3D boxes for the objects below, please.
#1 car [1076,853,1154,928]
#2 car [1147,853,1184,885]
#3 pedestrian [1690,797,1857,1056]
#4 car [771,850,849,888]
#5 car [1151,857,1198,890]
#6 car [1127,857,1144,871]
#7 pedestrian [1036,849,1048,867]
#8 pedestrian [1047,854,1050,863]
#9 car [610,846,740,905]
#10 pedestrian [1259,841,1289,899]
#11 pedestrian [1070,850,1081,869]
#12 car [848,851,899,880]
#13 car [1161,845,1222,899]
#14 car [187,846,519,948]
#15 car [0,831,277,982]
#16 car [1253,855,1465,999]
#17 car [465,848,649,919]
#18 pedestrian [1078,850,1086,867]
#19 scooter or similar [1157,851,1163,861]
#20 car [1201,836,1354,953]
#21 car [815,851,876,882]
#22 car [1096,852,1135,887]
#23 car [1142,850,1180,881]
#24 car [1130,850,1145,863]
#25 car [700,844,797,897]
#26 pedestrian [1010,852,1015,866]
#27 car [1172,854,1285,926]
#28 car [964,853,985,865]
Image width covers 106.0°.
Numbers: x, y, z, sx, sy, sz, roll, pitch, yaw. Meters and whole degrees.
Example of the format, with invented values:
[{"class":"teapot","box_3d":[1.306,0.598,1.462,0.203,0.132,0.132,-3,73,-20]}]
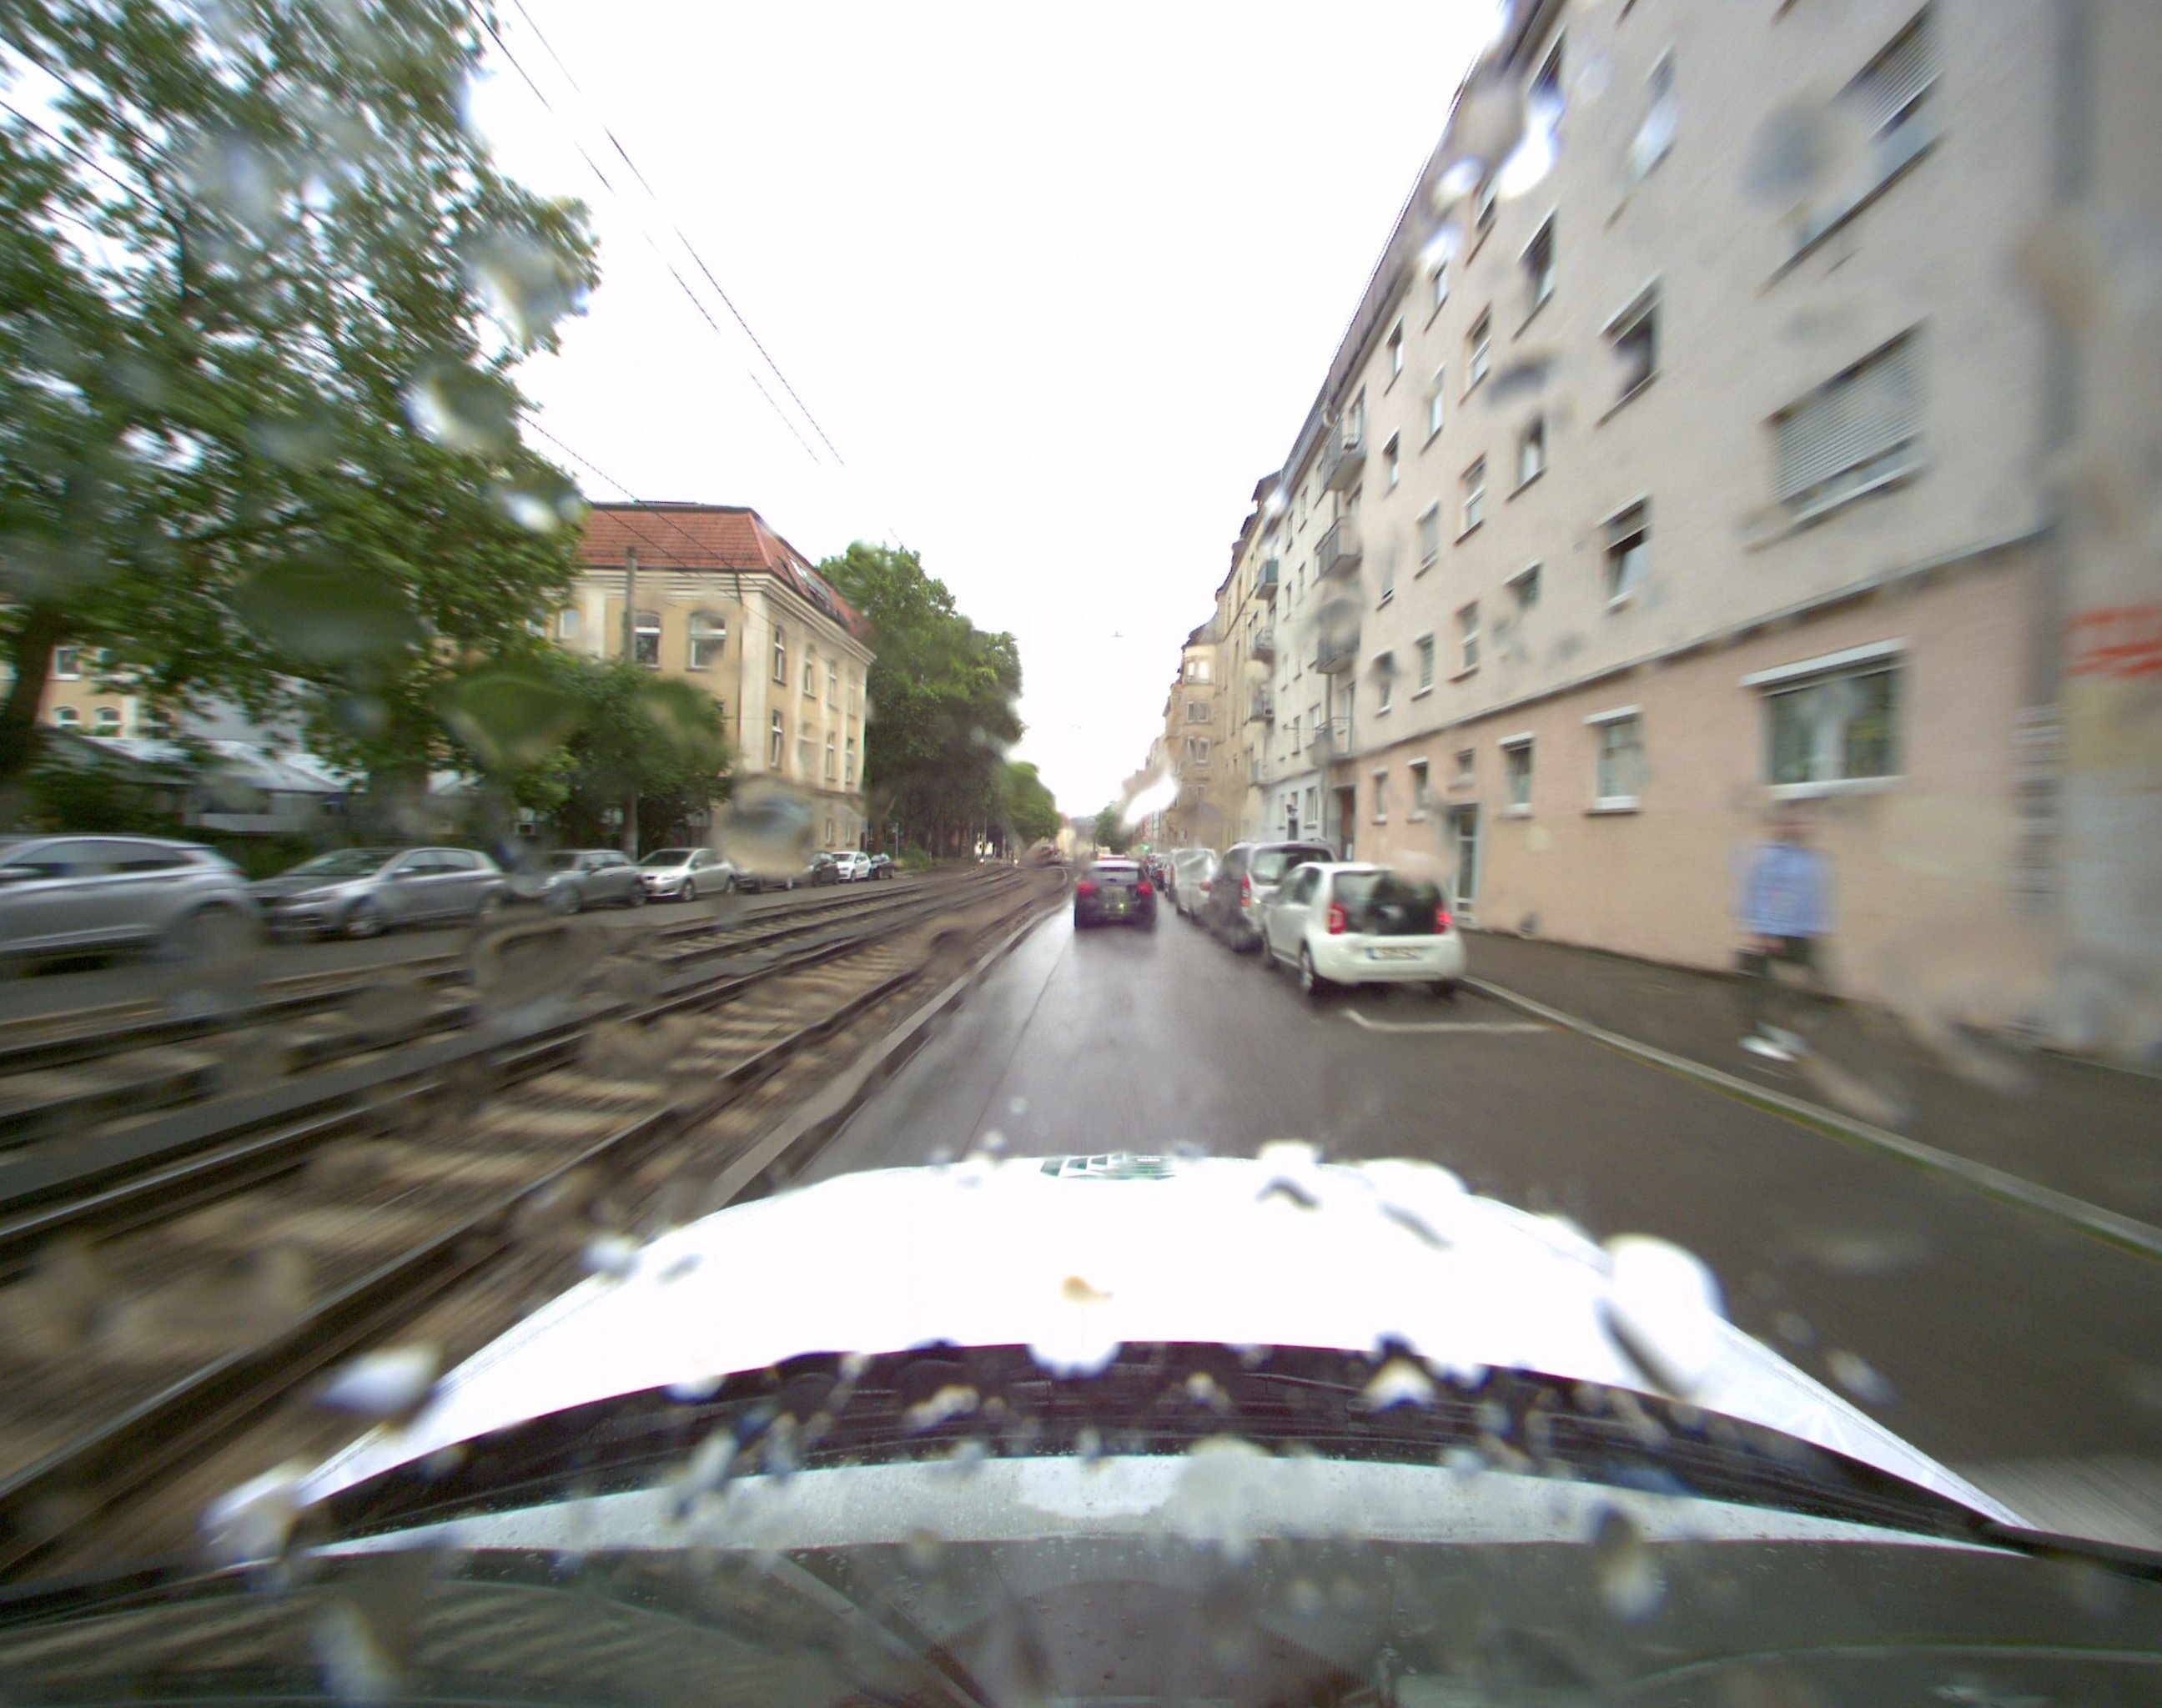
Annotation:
[{"class":"car","box_3d":[0.735,0.747,18.350,1.574,1.505,3.575,1,0,1]},{"class":"car","box_3d":[4.333,0.733,42.210,1.687,1.529,4.002,1,0,2]},{"class":"pedestrian","box_3d":[5.006,0.498,5.926,0.605,1.763,0.688,-1,0,1]},{"class":"car","box_3d":[-11.010,0.579,33.361,1.668,1.413,4.013,-1,0,3]},{"class":"car","box_3d":[4.226,0.857,37.200,1.711,1.347,4.463,2,0,1]},{"class":"car","box_3d":[6.448,1.195,96.486,1.820,1.618,3.866,-1,0,2]},{"class":"pedestrian","box_3d":[-3.866,0.370,81.090,1.050,1.718,0.905,1,0,3]},{"class":"pedestrian","box_3d":[-6.419,0.880,159.782,0.516,1.717,0.551,3,0,2]},{"class":"car","box_3d":[-11.423,0.565,23.229,1.534,1.505,4.155,-1,0,1]},{"class":"pedestrian","box_3d":[6.275,0.496,26.495,0.743,1.833,1.039,-2,0,3]},{"class":"pedestrian","box_3d":[-0.628,0.620,87.605,1.135,1.998,1.171,-1,0,-2]},{"class":"car","box_3d":[-10.894,0.555,43.042,1.608,1.429,3.854,0,0,2]},{"class":"car","box_3d":[3.881,0.593,29.169,1.820,1.750,4.471,1,0,3]},{"class":"car","box_3d":[-11.754,0.610,13.622,1.748,1.413,4.154,-1,0,1]},{"class":"car","box_3d":[-11.850,0.548,8.796,1.748,1.536,4.544,-1,0,1]},{"class":"car","box_3d":[3.239,0.750,10.178,1.564,1.462,3.601,0,0,2]},{"class":"car","box_3d":[-11.672,0.596,18.497,1.534,1.413,3.954,-1,0,1]},{"class":"pedestrian","box_3d":[0.093,0.456,81.548,0.803,1.633,0.893,-1,0,2]},{"class":"scooter or similar","box_3d":[10.423,0.282,106.991,0.448,1.321,1.774,-1,0,-5]},{"class":"car","box_3d":[3.281,0.616,14.427,1.784,1.765,4.213,0,0,1]},{"class":"car","box_3d":[-11.016,0.557,38.394,1.494,1.391,3.990,-1,0,3]},{"class":"car","box_3d":[1.666,0.704,39.261,1.778,1.581,4.002,1,0,2]},{"class":"car","box_3d":[4.655,0.662,47.821,1.760,1.668,4.331,2,0,0]},{"class":"car","box_3d":[6.987,0.293,100.967,1.753,1.579,4.002,-1,0,2]},{"class":"car","box_3d":[-11.327,0.528,28.032,1.571,1.643,4.072,-1,0,1]},{"class":"pedestrian","box_3d":[-8.879,0.676,105.483,0.532,1.754,0.607,3,0,2]},{"class":"car","box_3d":[3.337,0.754,19.383,1.865,1.455,4.903,1,0,1]},{"class":"car","box_3d":[-13.355,0.601,102.777,1.810,1.505,4.636,1,0,3]}]
